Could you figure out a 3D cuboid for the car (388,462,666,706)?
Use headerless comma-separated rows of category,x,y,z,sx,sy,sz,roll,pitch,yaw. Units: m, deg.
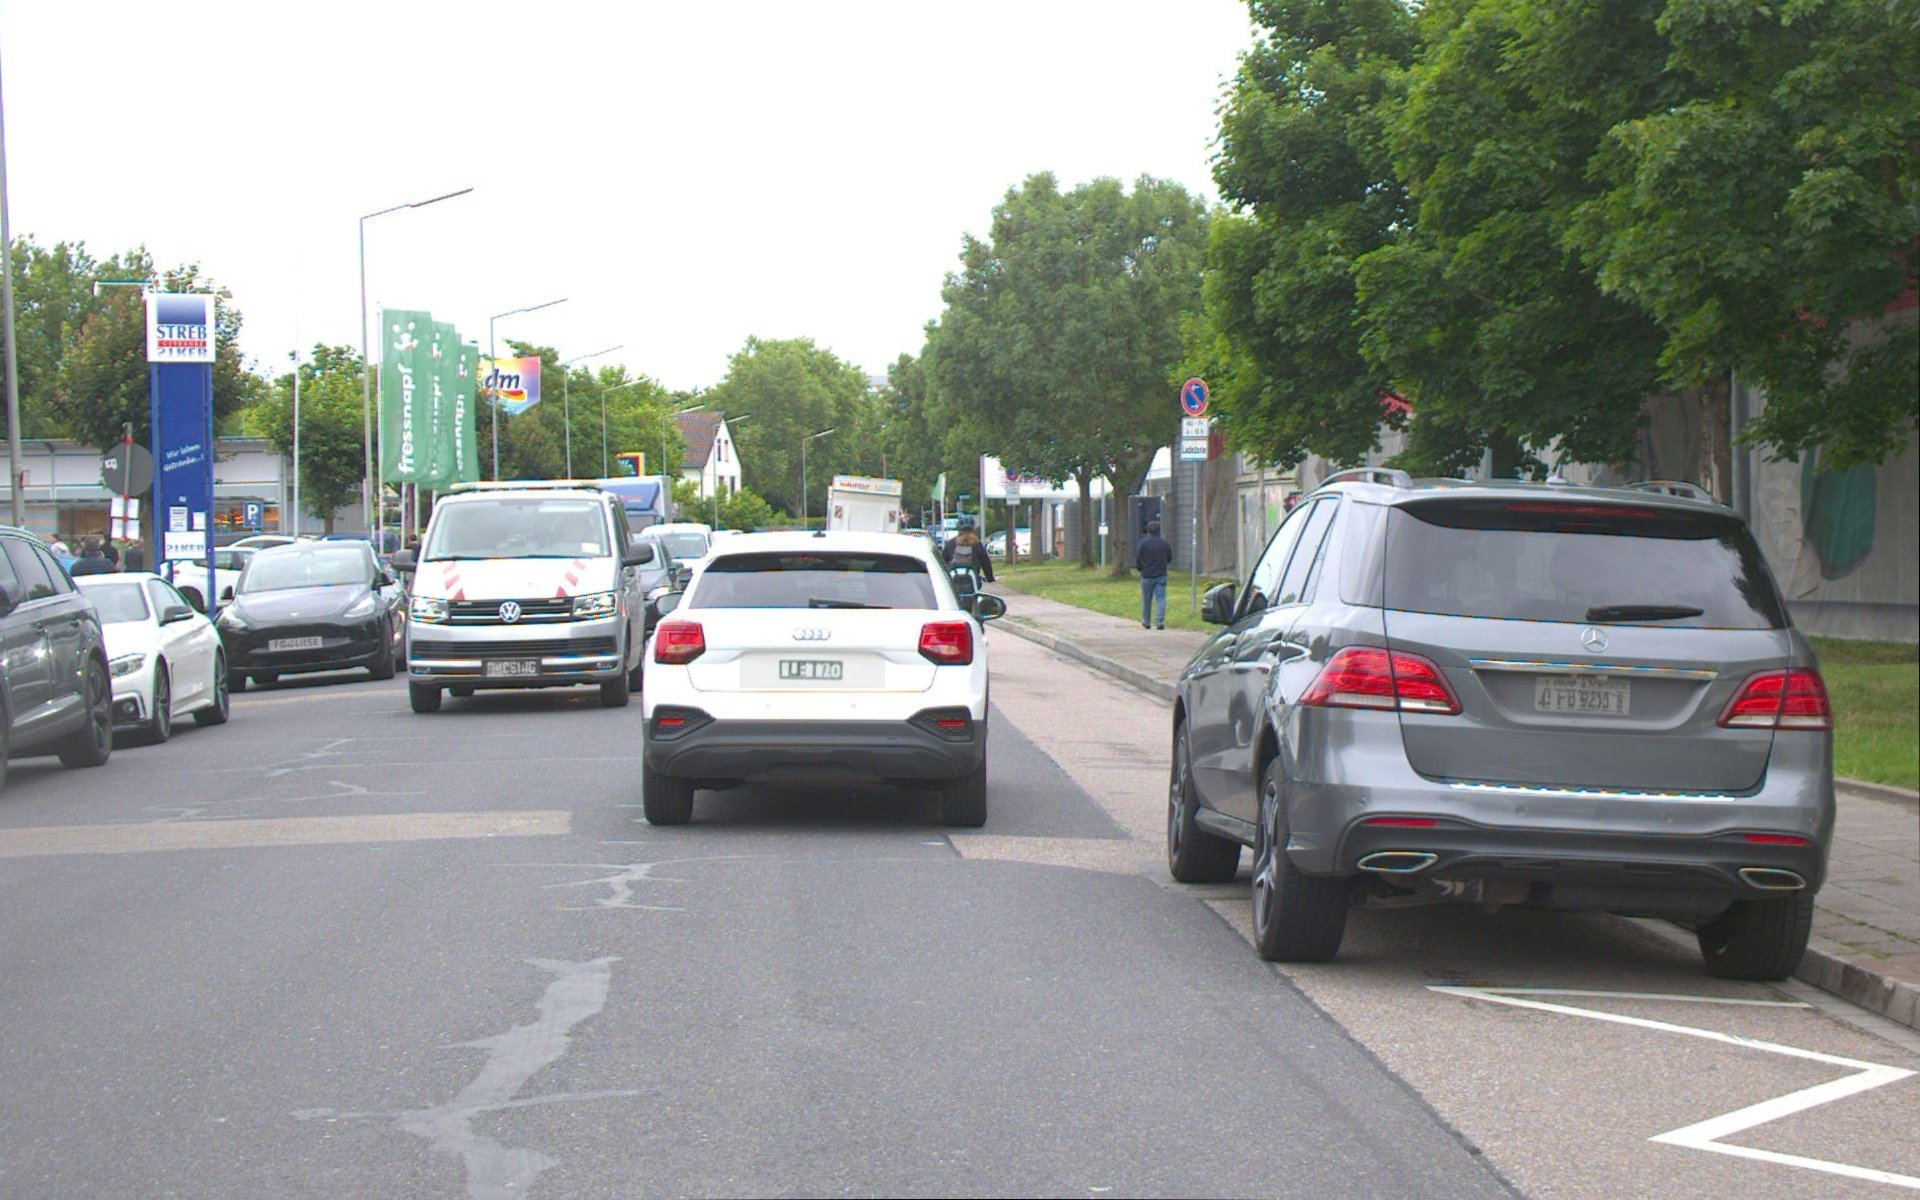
car,-3.832,-0.158,31.202,1.927,2.007,4.955,1,1,-1

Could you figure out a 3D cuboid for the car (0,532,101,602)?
car,-23.319,-0.793,84.456,3.986,1.663,1.877,-1,1,-2

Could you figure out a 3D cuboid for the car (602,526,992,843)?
car,-0.870,0.369,18.994,1.886,1.526,4.254,-1,1,-2

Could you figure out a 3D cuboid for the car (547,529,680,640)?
car,-5.236,-0.270,52.378,1.729,1.566,3.947,-2,1,-2

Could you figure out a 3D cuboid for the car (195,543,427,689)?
car,-7.315,0.134,39.170,1.946,1.521,4.403,-1,1,-2

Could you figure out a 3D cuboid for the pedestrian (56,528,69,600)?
pedestrian,-21.650,-0.872,82.927,0.262,1.724,0.422,-1,1,-15

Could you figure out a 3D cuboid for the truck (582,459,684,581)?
truck,-11.145,-2.743,117.626,2.973,3.942,6.405,-2,1,-2

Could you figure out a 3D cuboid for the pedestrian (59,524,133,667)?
pedestrian,-10.402,-0.057,41.395,0.775,1.709,0.697,0,1,-7

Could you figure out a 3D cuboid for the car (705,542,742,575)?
car,-11.156,-1.958,162.196,1.598,1.523,3.528,-2,1,-2

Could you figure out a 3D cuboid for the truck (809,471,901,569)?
truck,-4.092,-3.000,131.934,3.134,3.572,10.052,1,1,-4

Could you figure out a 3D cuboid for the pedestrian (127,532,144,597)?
pedestrian,-19.769,-0.853,82.411,0.330,1.564,0.504,-1,1,-16

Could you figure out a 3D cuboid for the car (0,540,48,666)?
car,-14.197,0.006,45.309,3.873,1.615,1.928,1,1,-2

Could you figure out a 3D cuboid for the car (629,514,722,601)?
car,-6.081,-0.939,73.799,1.689,1.755,4.135,-2,1,-2

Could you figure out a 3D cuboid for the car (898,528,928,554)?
car,-3.102,-3.900,226.871,1.886,1.677,4.254,1,1,-2

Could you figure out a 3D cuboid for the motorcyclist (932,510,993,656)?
motorcyclist,0.020,-0.190,36.878,0.625,1.548,0.604,-1,1,-1

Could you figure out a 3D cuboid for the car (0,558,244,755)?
car,-7.207,0.428,28.528,1.698,1.363,4.518,-6,1,-3

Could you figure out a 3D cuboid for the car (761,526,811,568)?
car,-7.064,-2.164,139.508,1.869,1.656,4.001,-1,1,-4

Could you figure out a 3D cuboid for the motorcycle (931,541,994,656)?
motorcycle,0.017,-0.036,36.848,0.641,1.174,2.114,-1,1,-1

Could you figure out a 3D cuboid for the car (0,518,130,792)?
car,-6.920,0.379,22.421,1.865,1.685,4.729,-4,1,-2

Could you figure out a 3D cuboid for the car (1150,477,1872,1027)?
car,1.932,0.456,13.503,1.908,1.735,4.481,2,1,-2

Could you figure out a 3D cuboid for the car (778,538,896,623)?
car,-2.164,-0.362,59.581,1.937,1.362,4.001,-1,1,-3

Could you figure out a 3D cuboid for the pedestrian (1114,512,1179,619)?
pedestrian,2.874,-0.528,53.031,0.919,1.629,0.853,1,0,-1

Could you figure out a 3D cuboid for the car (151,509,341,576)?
car,-16.357,-1.323,78.942,4.134,1.458,1.899,-1,1,-8
